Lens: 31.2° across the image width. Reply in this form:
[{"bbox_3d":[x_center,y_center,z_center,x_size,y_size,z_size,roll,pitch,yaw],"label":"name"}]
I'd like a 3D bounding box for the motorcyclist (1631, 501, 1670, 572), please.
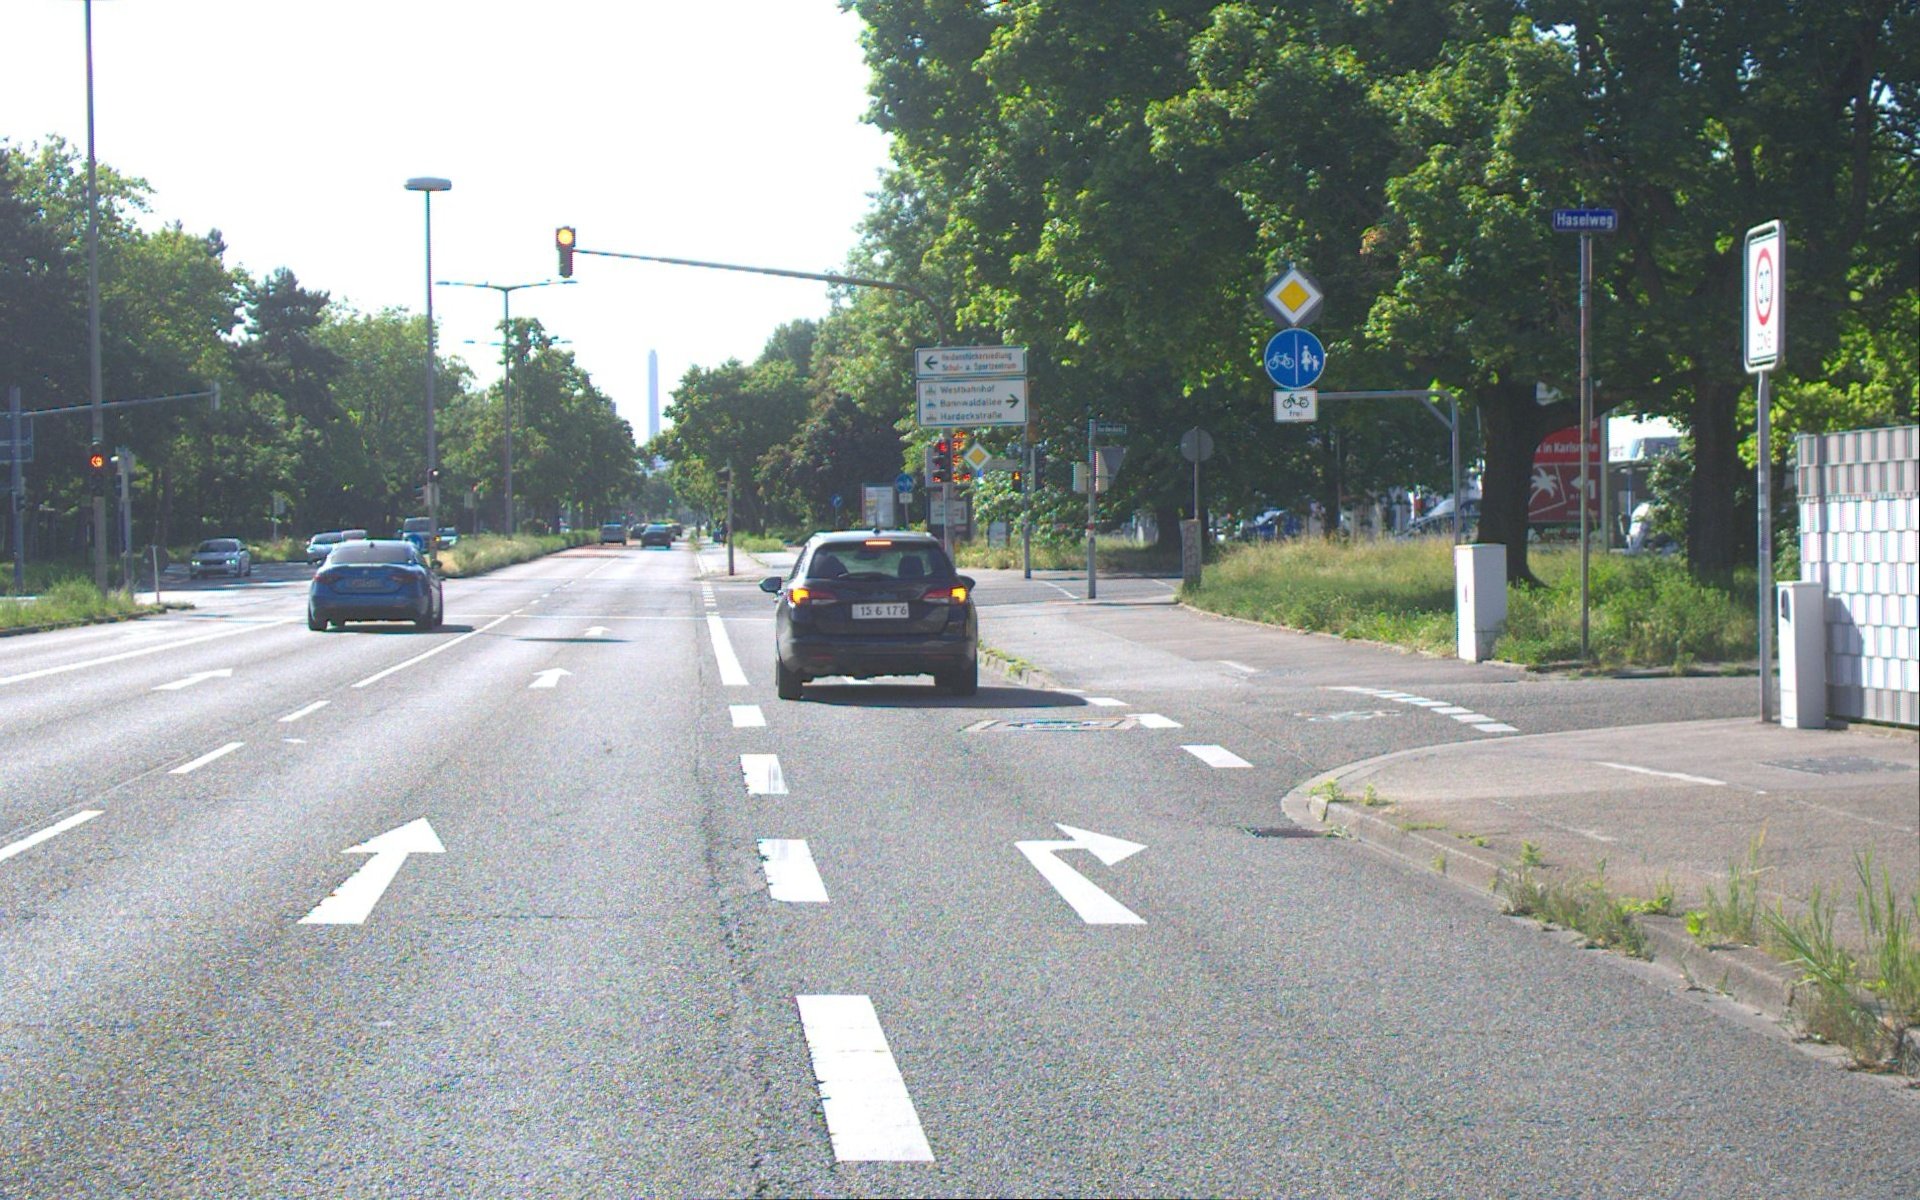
[{"bbox_3d":[16.317,-1.495,81.257,0.860,1.674,0.834,1,1,12],"label":"motorcyclist"}]

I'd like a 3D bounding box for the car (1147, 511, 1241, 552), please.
[{"bbox_3d":[9.876,-2.893,145.301,3.711,1.679,1.705,1,1,-7],"label":"car"}]

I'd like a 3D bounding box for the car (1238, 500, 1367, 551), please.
[{"bbox_3d":[10.960,-2.377,109.938,3.836,1.558,1.805,0,1,-36],"label":"car"}]

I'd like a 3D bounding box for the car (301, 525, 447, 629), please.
[{"bbox_3d":[-9.262,-0.390,54.560,1.888,1.546,4.001,-1,1,-4],"label":"car"}]

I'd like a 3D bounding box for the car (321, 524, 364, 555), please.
[{"bbox_3d":[-33.455,-3.277,186.223,1.864,1.678,4.001,1,1,-4],"label":"car"}]

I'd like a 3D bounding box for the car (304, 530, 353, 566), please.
[{"bbox_3d":[-30.337,-2.518,165.134,1.864,1.678,4.001,1,1,-4],"label":"car"}]

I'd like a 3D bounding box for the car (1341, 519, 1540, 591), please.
[{"bbox_3d":[11.436,-1.070,81.979,4.619,1.568,1.999,-1,1,7],"label":"car"}]

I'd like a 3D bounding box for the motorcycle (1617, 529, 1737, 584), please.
[{"bbox_3d":[16.920,-1.024,81.158,2.726,1.266,0.834,1,1,12],"label":"motorcycle"}]

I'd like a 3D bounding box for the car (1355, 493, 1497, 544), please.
[{"bbox_3d":[13.992,-2.444,103.231,3.835,1.477,1.805,0,1,-23],"label":"car"}]

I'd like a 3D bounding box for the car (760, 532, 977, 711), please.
[{"bbox_3d":[-0.886,0.148,31.168,1.755,1.504,3.809,-1,1,-5],"label":"car"}]

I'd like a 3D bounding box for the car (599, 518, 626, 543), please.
[{"bbox_3d":[-24.732,-4.938,244.665,1.824,1.610,3.840,0,-2,-6],"label":"car"}]

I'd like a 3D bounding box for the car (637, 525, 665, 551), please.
[{"bbox_3d":[-19.350,-3.897,215.309,1.732,1.579,3.841,1,1,-5],"label":"car"}]

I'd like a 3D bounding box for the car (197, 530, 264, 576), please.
[{"bbox_3d":[-27.150,-1.747,127.983,1.864,1.678,4.261,1,1,-4],"label":"car"}]
